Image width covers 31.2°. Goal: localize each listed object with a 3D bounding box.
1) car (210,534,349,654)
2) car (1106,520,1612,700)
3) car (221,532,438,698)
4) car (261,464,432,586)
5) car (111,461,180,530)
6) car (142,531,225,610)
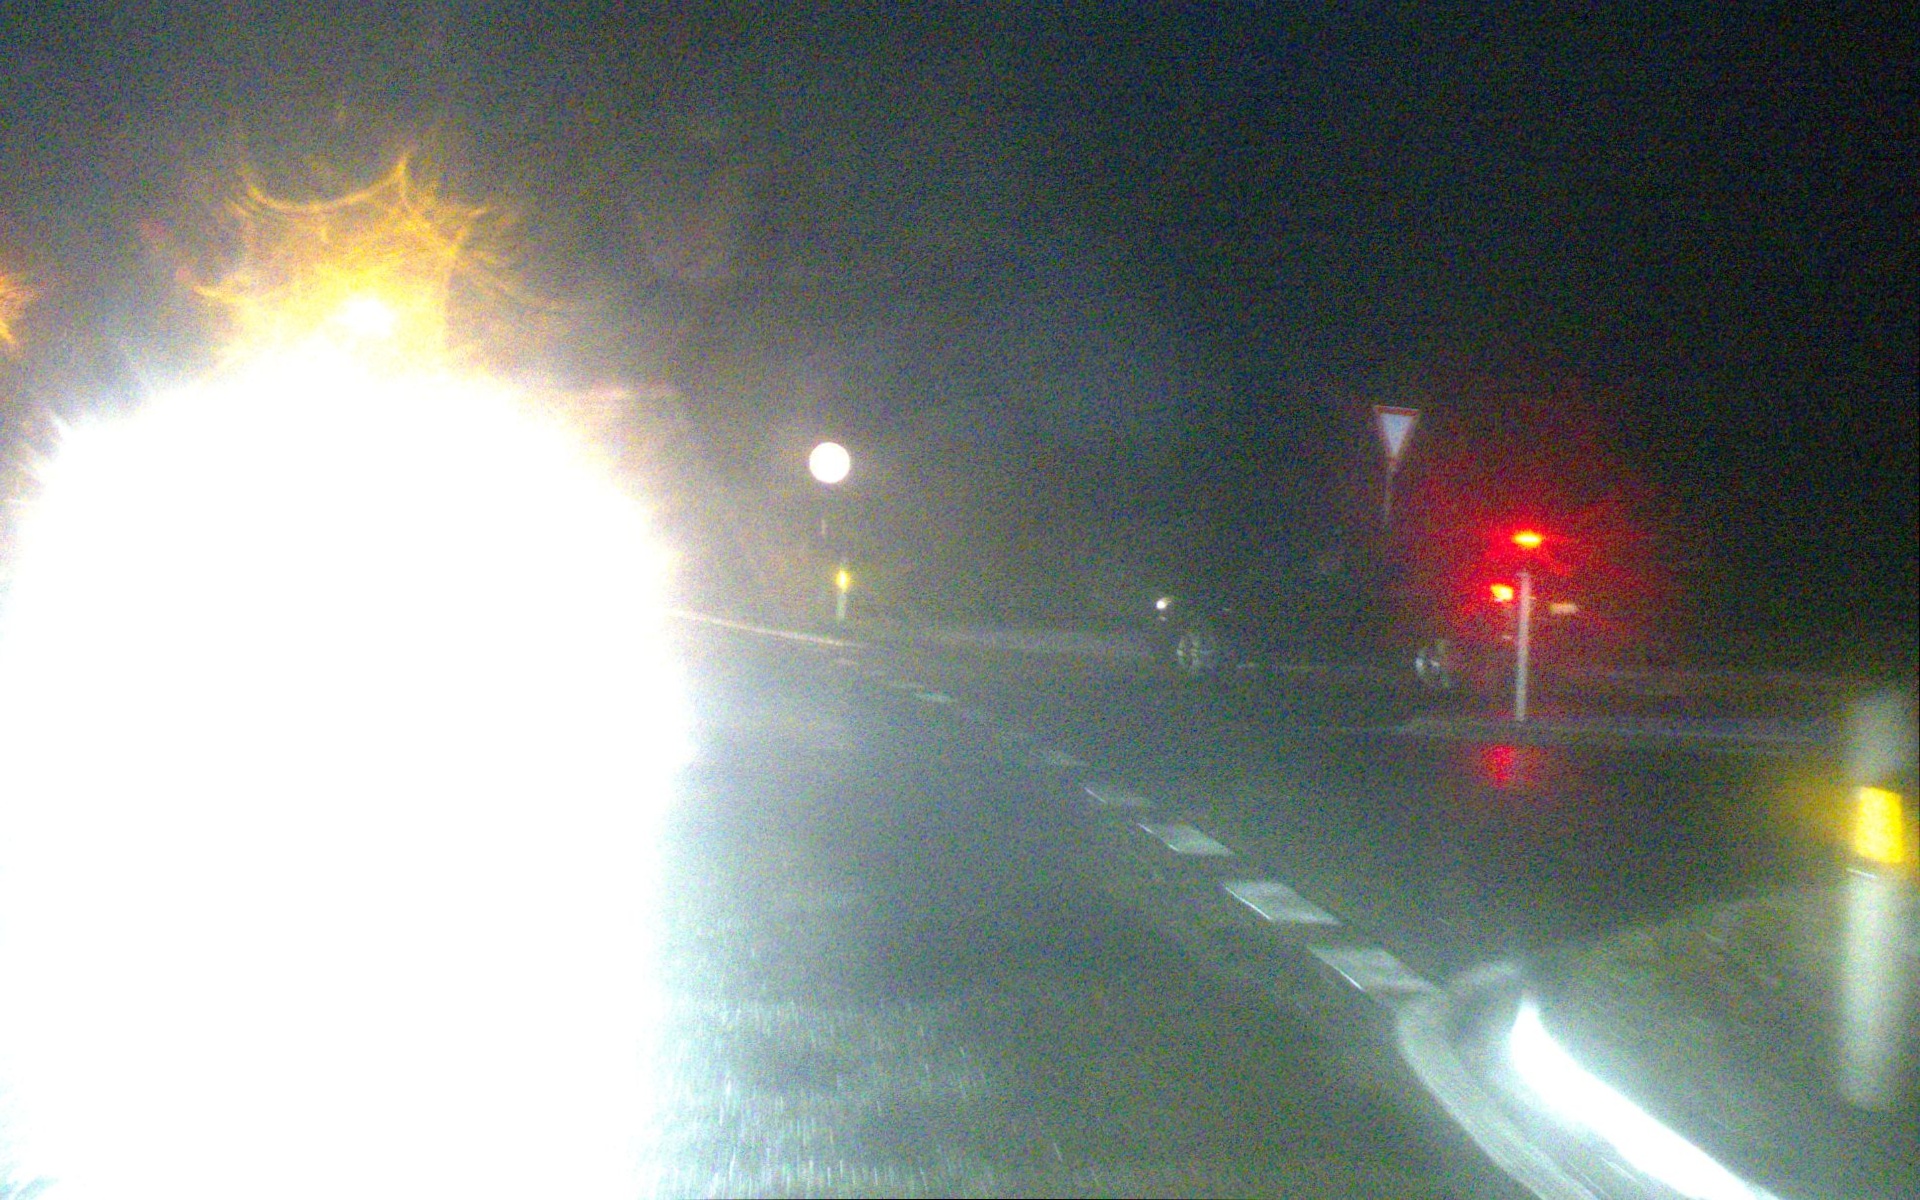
[{"bbox_3d":[-9.106,-0.110,46.088,1.712,1.471,3.870,2,1,-11],"label":"car"},{"bbox_3d":[4.041,0.076,35.229,4.769,1.685,1.957,2,0,37],"label":"car"},{"bbox_3d":[-6.291,0.135,34.715,1.955,1.517,4.400,2,0,-8],"label":"car"},{"bbox_3d":[-14.077,-1.761,78.575,2.538,2.489,5.717,-1,4,-24],"label":"car"},{"bbox_3d":[-25.378,-3.231,107.161,1.993,2.007,4.001,2,0,-13],"label":"car"},{"bbox_3d":[-16.646,-0.652,73.800,1.695,1.594,3.802,0,2,-12],"label":"car"}]
